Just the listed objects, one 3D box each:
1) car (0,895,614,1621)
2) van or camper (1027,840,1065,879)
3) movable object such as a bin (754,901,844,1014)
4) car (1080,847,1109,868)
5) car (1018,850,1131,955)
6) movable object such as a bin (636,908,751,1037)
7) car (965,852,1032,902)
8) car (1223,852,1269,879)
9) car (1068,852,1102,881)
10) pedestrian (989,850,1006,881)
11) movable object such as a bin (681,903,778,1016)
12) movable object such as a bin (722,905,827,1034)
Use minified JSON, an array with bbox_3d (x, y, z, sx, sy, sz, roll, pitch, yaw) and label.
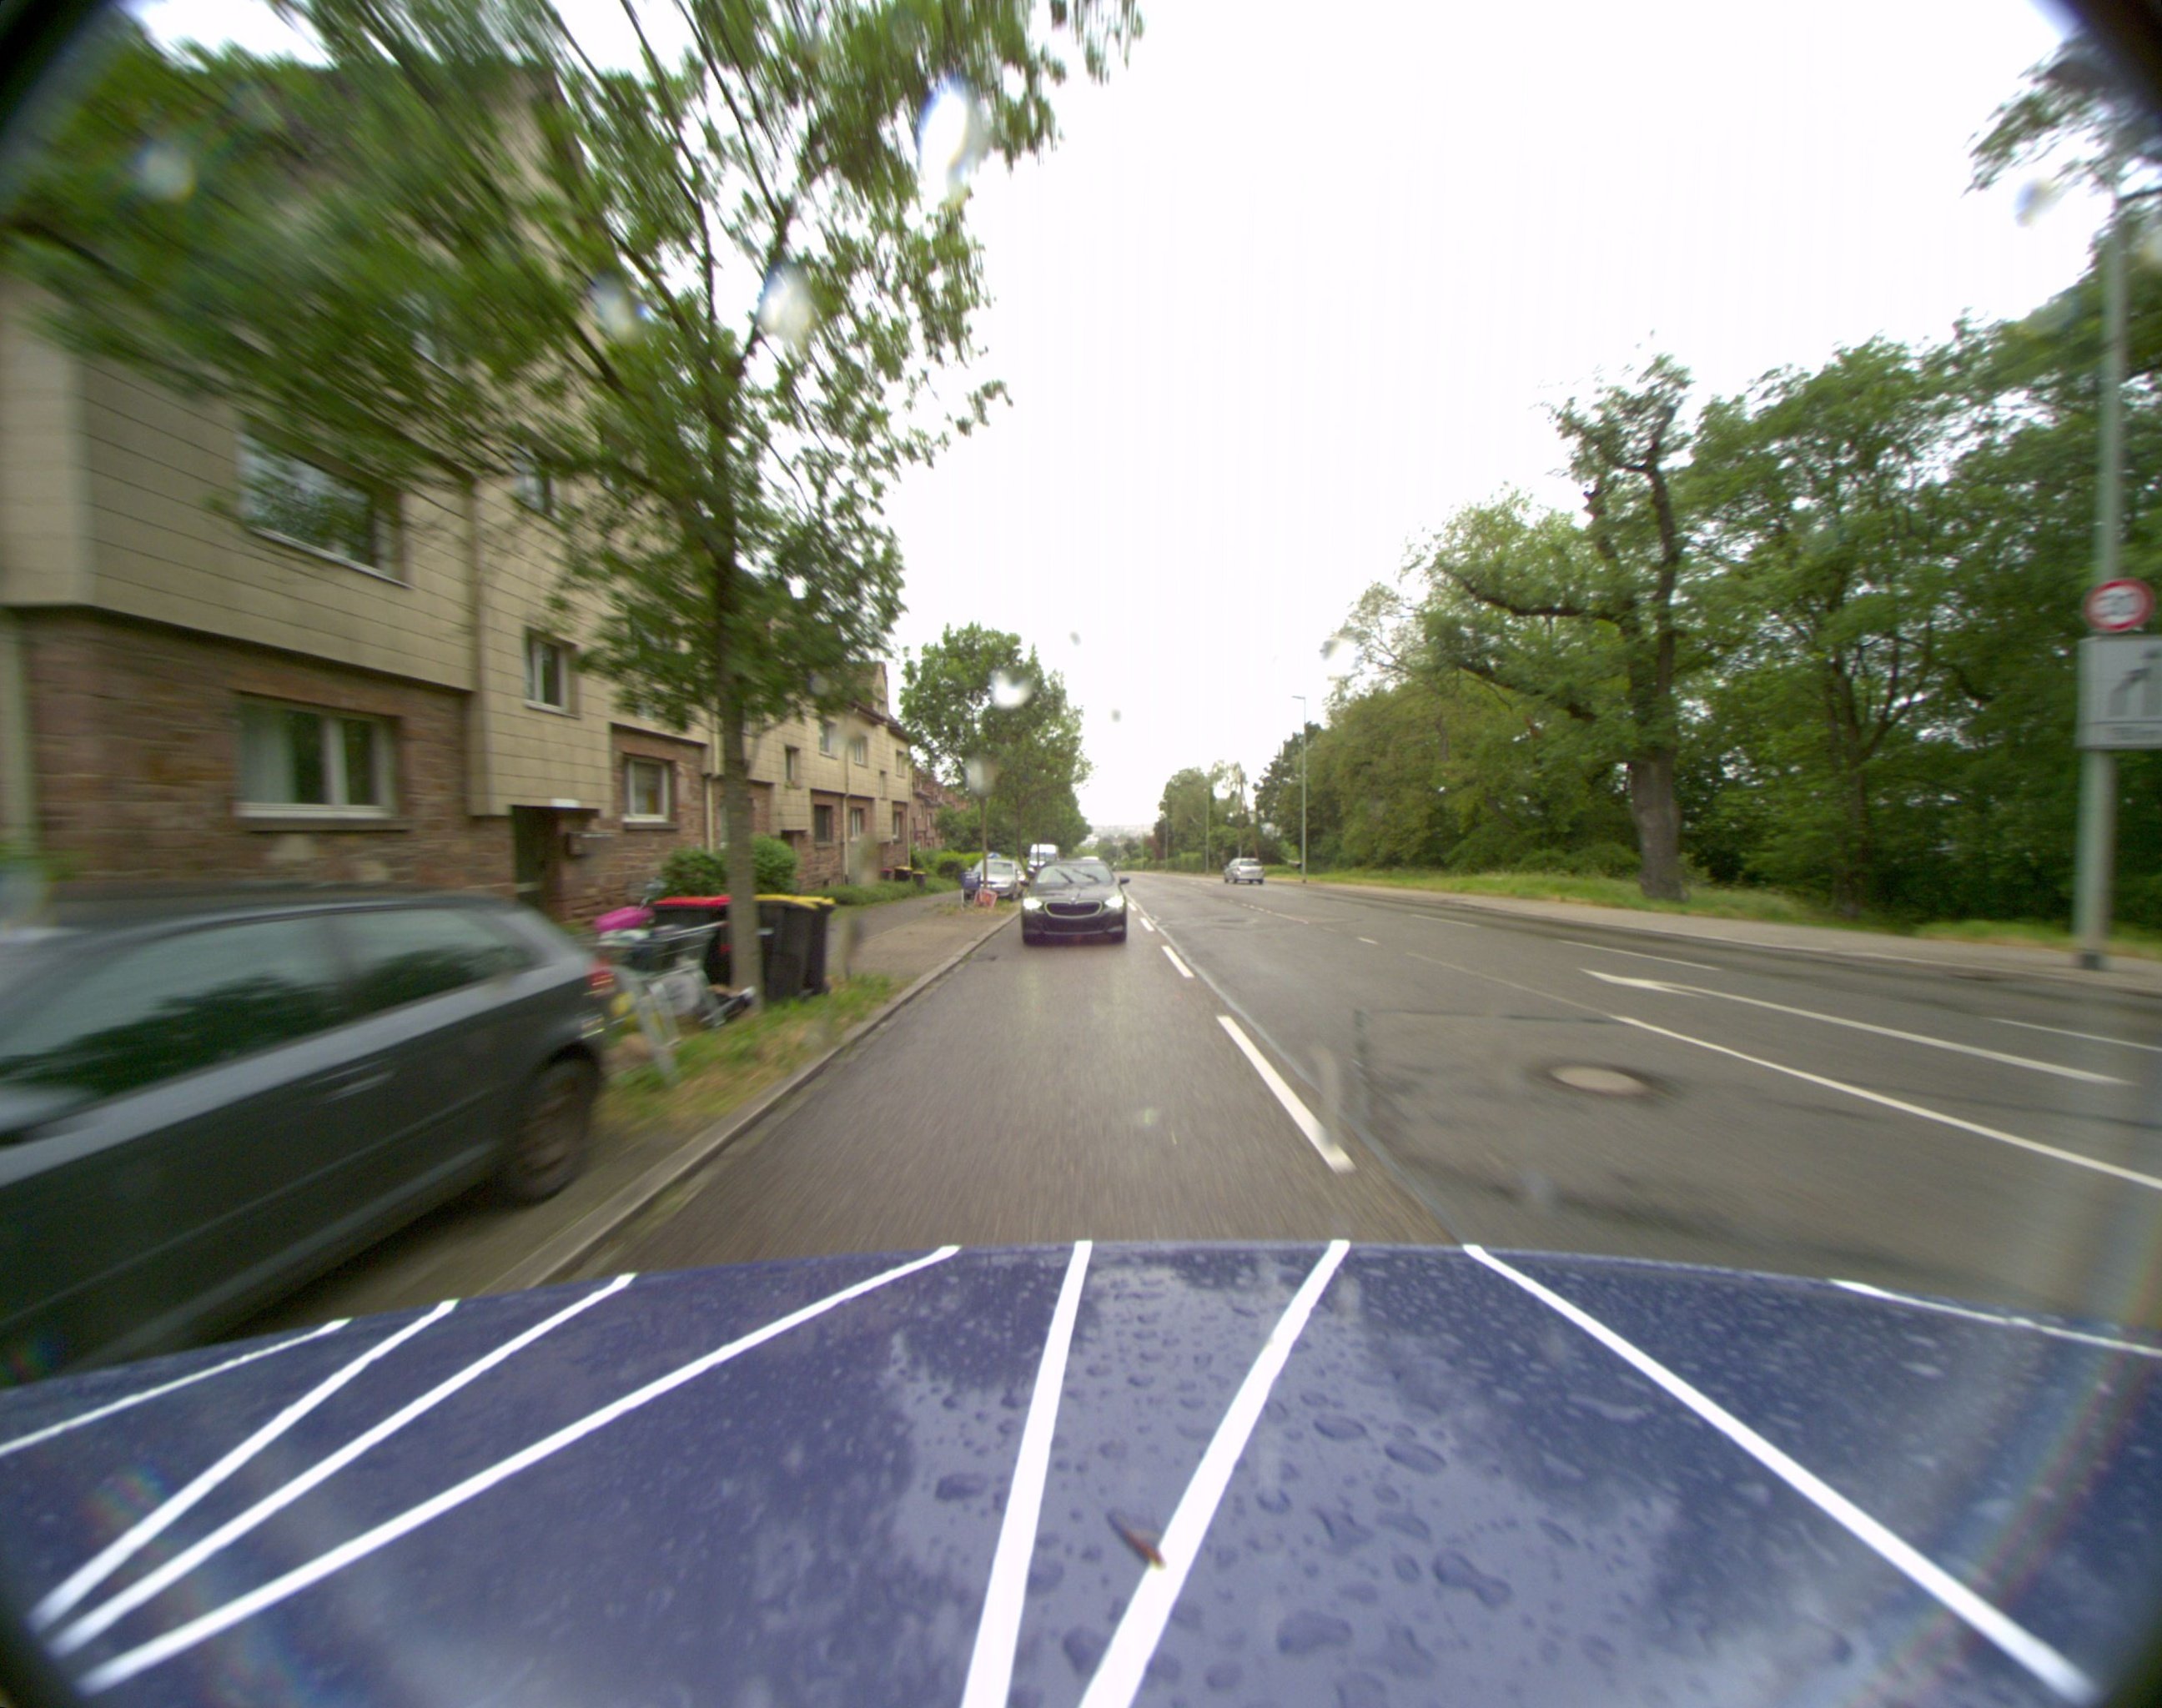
[{"bbox_3d":[-3.166,0.942,1.816,1.645,1.440,3.998,0,0,-1],"label":"car"},{"bbox_3d":[-2.476,0.430,55.693,2.203,2.635,7.303,1,-1,1],"label":"van or camper"},{"bbox_3d":[-2.899,1.046,7.879,0.621,1.044,0.822,2,0,-2],"label":"movable object such as a bin"},{"bbox_3d":[1.111,0.332,63.503,1.999,1.674,4.172,0,-1,-5],"label":"car"},{"bbox_3d":[-0.111,0.805,14.963,1.829,1.668,4.295,-2,1,0],"label":"car"},{"bbox_3d":[-3.527,1.055,6.983,0.621,1.044,0.822,2,0,-2],"label":"movable object such as a bin"},{"bbox_3d":[-2.893,0.810,27.568,1.706,1.575,4.644,3,-1,2],"label":"car"},{"bbox_3d":[9.662,0.628,44.822,1.694,1.474,4.452,1,0,0],"label":"car"},{"bbox_3d":[0.222,0.760,47.178,1.999,1.674,4.174,0,-1,0],"label":"car"},{"bbox_3d":[-4.590,0.623,41.860,0.651,1.670,0.711,0,0,31],"label":"pedestrian"},{"bbox_3d":[-3.631,1.070,7.908,0.621,1.044,0.822,2,0,-2],"label":"movable object such as a bin"},{"bbox_3d":[-2.786,1.030,6.979,0.621,1.044,0.822,2,0,-2],"label":"movable object such as a bin"}]
